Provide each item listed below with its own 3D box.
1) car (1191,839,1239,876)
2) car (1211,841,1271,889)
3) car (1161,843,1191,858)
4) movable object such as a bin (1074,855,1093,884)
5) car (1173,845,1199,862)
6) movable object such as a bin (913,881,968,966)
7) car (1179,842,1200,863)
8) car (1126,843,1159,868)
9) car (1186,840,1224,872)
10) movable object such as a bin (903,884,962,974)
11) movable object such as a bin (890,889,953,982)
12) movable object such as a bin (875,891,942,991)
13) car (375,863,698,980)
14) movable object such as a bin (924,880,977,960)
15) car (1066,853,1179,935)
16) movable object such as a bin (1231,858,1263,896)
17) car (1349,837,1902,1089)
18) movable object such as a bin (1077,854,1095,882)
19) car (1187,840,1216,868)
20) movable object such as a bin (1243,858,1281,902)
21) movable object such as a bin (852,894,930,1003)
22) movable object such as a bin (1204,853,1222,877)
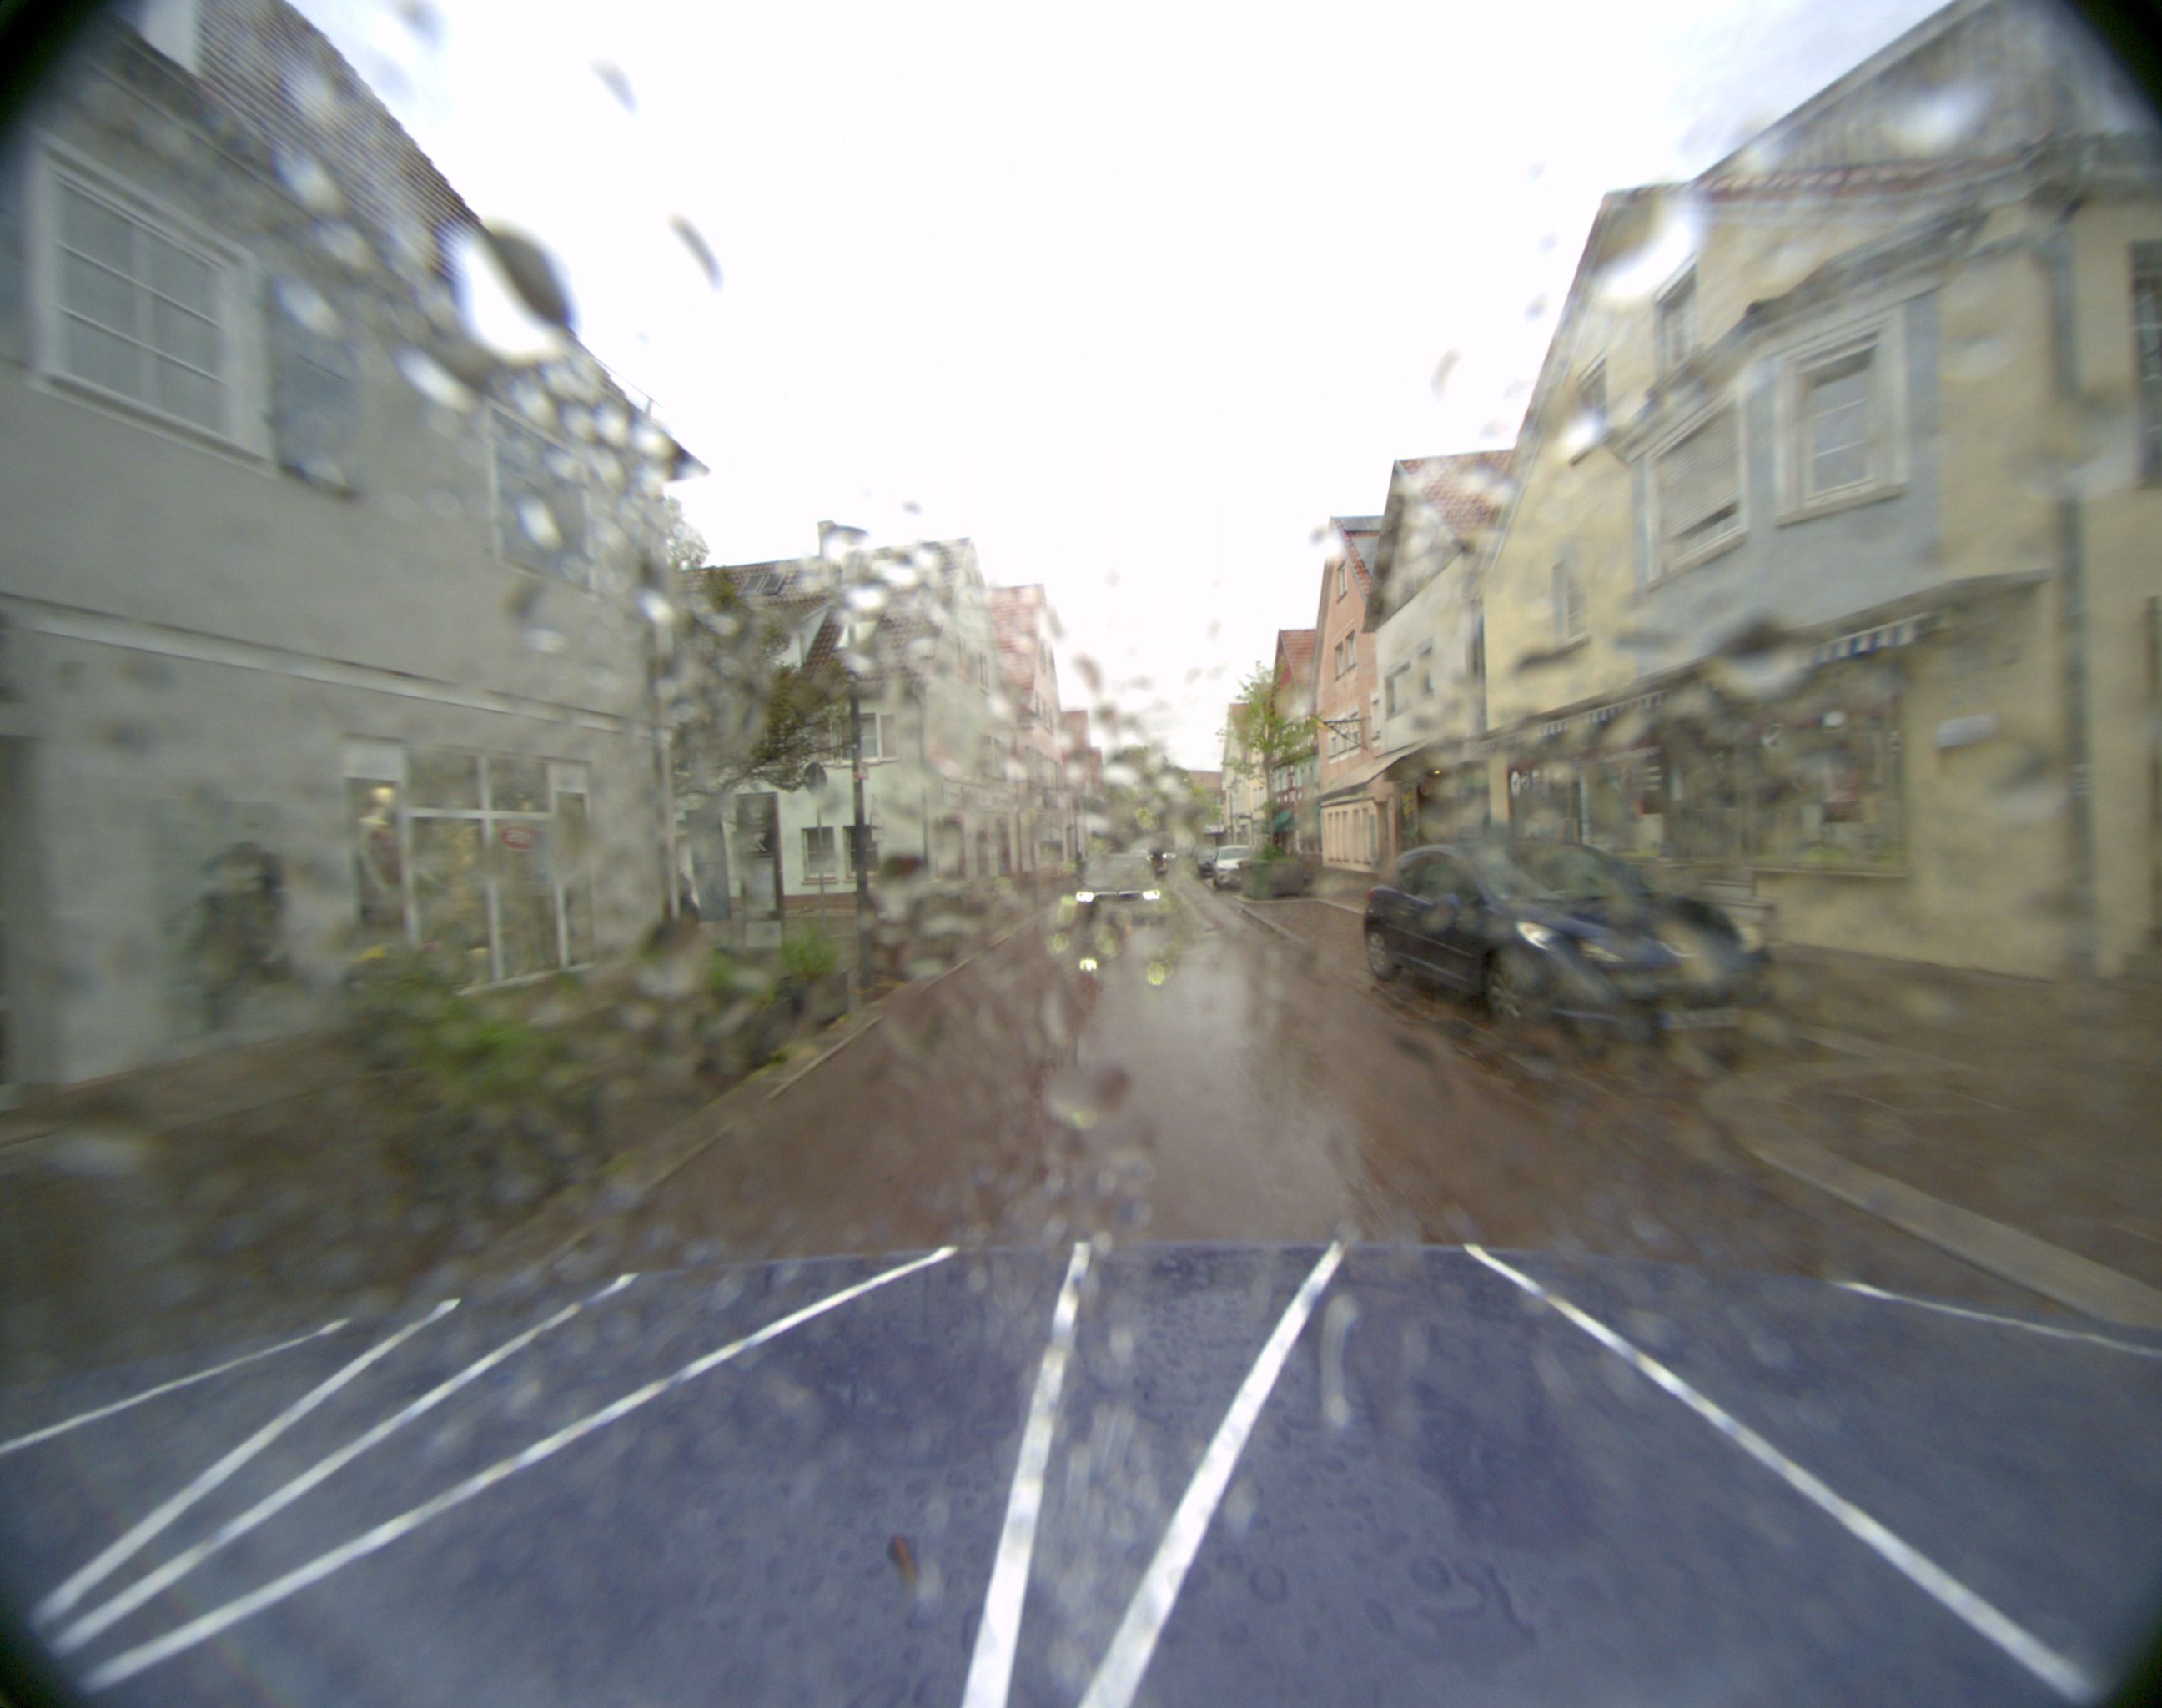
[{"bbox_3d":[6.815,0.130,39.119,1.837,1.543,4.281,-6,2,4],"label":"car"},{"bbox_3d":[5.890,0.343,28.347,1.831,1.557,4.001,-2,2,7],"label":"car"},{"bbox_3d":[10.613,-0.420,84.843,1.995,1.445,4.006,-1,2,28],"label":"car"},{"bbox_3d":[0.110,0.668,33.308,0.720,1.195,0.578,-2,2,8],"label":"movable object such as a bin"},{"bbox_3d":[9.517,-0.021,69.129,1.805,1.424,4.628,-2,0,1],"label":"car"},{"bbox_3d":[-2.175,1.074,11.839,0.659,1.238,0.543,-2,2,5],"label":"movable object such as a bin"},{"bbox_3d":[9.072,-0.161,63.650,1.596,1.537,3.978,-2,2,7],"label":"car"},{"bbox_3d":[4.189,0.088,51.053,1.997,1.445,4.001,-2,2,7],"label":"car"},{"bbox_3d":[7.347,0.059,45.474,1.837,1.666,4.540,-2,2,5],"label":"car"},{"bbox_3d":[-2.193,1.106,11.284,0.679,1.249,0.543,-2,2,5],"label":"movable object such as a bin"},{"bbox_3d":[-2.243,1.134,10.723,0.679,1.225,0.565,-2,2,5],"label":"movable object such as a bin"},{"bbox_3d":[-2.291,1.149,10.149,0.679,1.243,0.565,-2,2,5],"label":"movable object such as a bin"},{"bbox_3d":[-9.383,1.016,13.346,4.369,1.645,1.819,-1,0,-44],"label":"car"},{"bbox_3d":[-2.130,1.064,12.424,0.659,1.232,0.621,-2,2,5],"label":"movable object such as a bin"},{"bbox_3d":[0.780,0.719,16.209,1.998,1.398,4.893,-2,0,1],"label":"car"},{"bbox_3d":[5.097,0.711,23.329,0.817,1.100,0.610,-2,2,1],"label":"movable object such as a bin"},{"bbox_3d":[4.099,0.659,6.727,1.998,1.463,3.999,-3,1,0],"label":"car"},{"bbox_3d":[0.236,0.637,34.034,0.720,1.195,0.573,-2,2,8],"label":"movable object such as a bin"},{"bbox_3d":[8.270,-0.034,52.362,1.775,1.666,4.480,-3,2,7],"label":"car"},{"bbox_3d":[4.948,0.693,20.837,0.817,1.100,0.610,-5,2,1],"label":"movable object such as a bin"},{"bbox_3d":[-2.356,1.161,9.498,0.679,1.234,0.731,-2,2,5],"label":"movable object such as a bin"},{"bbox_3d":[6.103,0.497,35.219,0.749,1.076,0.764,-2,2,8],"label":"movable object such as a bin"}]
